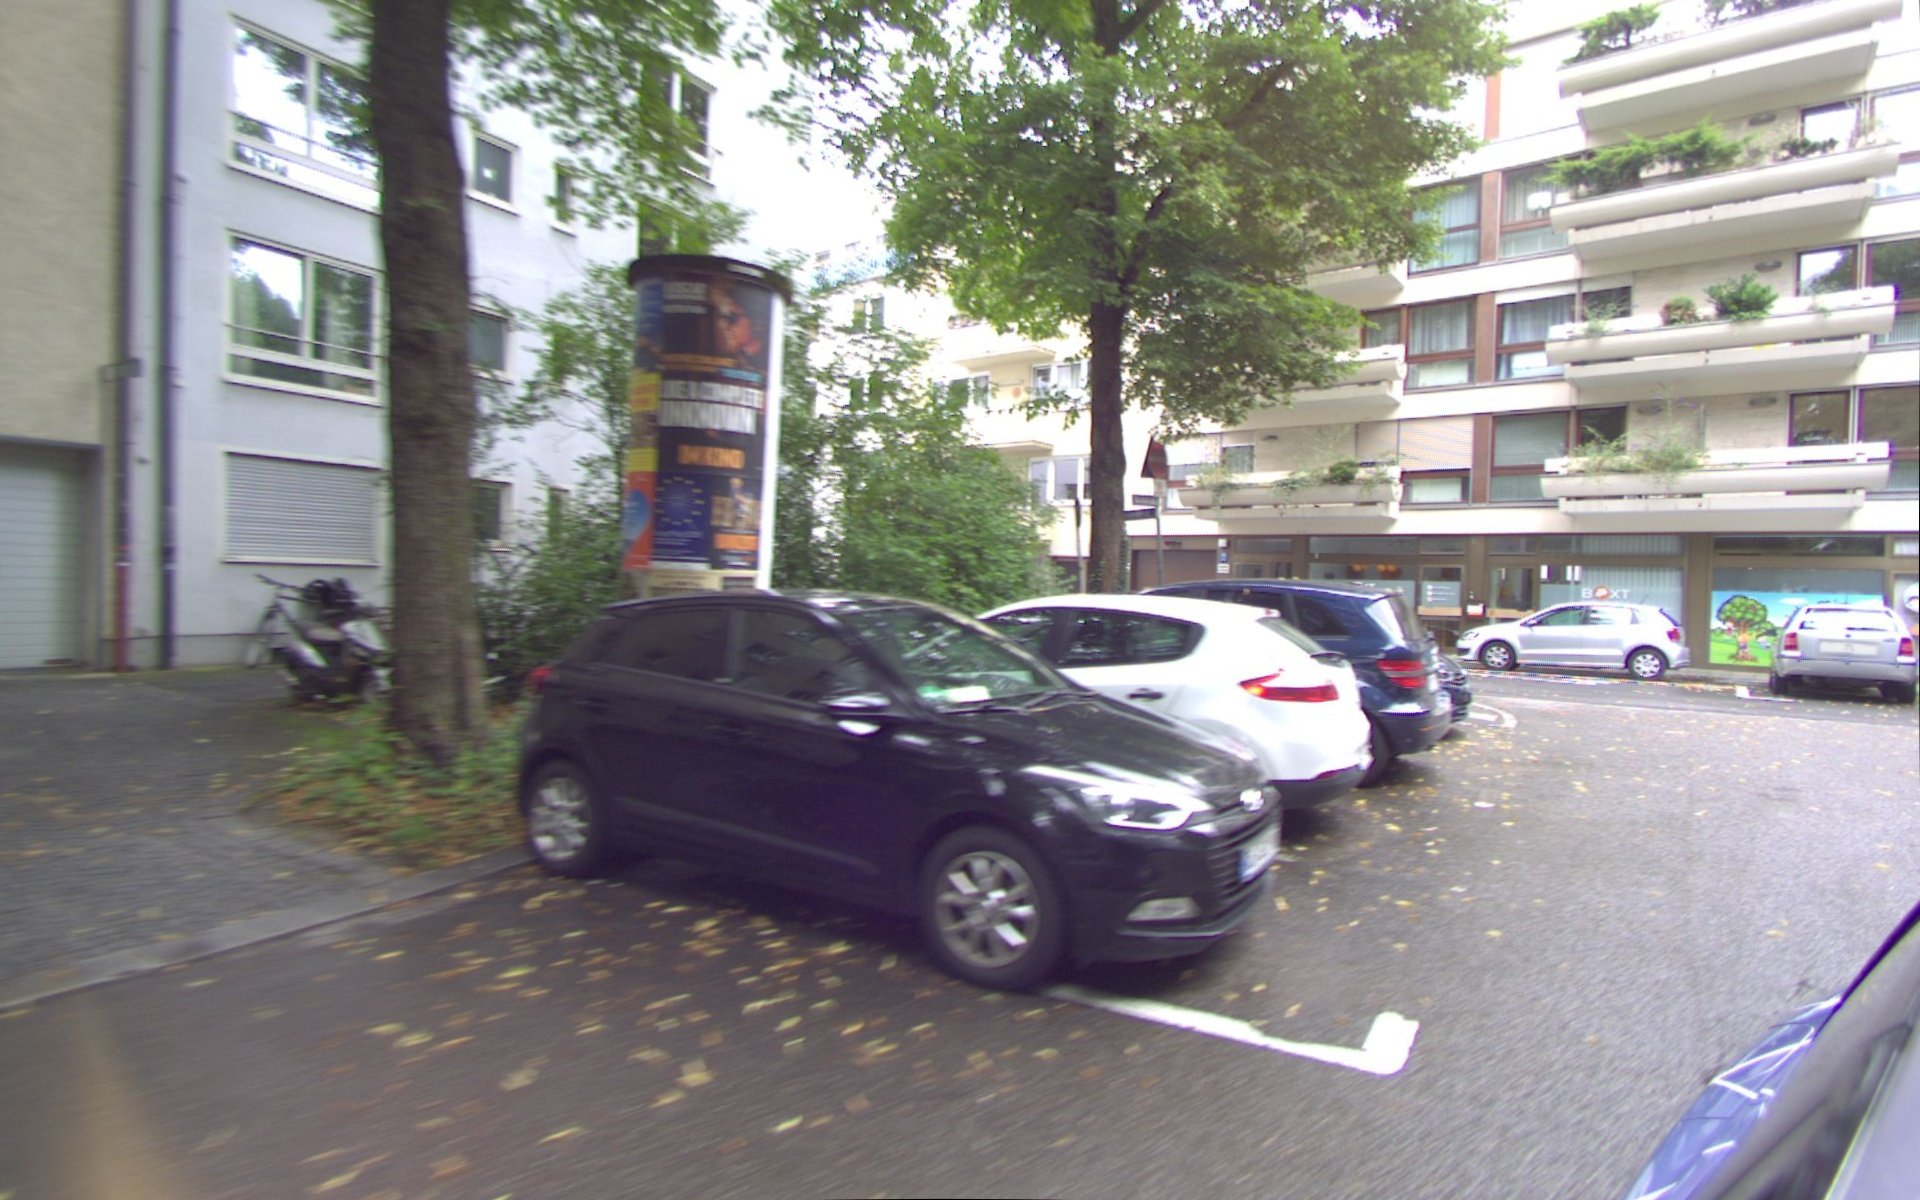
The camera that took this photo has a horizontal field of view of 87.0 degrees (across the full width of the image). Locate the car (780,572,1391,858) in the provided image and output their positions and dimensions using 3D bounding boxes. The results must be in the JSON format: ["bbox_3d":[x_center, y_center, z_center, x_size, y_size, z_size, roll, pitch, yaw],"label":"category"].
[{"bbox_3d":[0.838,0.578,7.170,3.913,1.465,1.809,2,2,29],"label":"car"}]

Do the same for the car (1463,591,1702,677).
[{"bbox_3d":[12.027,0.619,19.667,3.811,1.439,1.545,2,-1,37],"label":"car"}]

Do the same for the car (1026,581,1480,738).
[{"bbox_3d":[3.289,0.531,11.569,4.691,1.394,1.941,2,1,29],"label":"car"}]

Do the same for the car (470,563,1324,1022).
[{"bbox_3d":[-0.495,0.560,5.054,4.068,1.411,1.714,2,1,34],"label":"car"}]

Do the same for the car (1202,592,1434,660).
[{"bbox_3d":[7.987,0.541,22.786,4.591,1.294,1.778,2,-1,38],"label":"car"}]

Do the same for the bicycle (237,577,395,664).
[{"bbox_3d":[-8.469,0.234,13.369,0.535,1.035,1.683,5,3,31],"label":"bicycle"}]

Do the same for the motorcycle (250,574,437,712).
[{"bbox_3d":[-5.987,0.374,9.809,1.789,1.212,0.685,2,1,26],"label":"motorcycle"}]

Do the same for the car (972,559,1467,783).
[{"bbox_3d":[2.237,0.458,9.064,3.955,1.575,1.736,2,1,33],"label":"car"}]

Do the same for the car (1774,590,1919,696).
[{"bbox_3d":[14.347,0.701,16.331,1.711,1.473,4.184,1,-2,37],"label":"car"}]
